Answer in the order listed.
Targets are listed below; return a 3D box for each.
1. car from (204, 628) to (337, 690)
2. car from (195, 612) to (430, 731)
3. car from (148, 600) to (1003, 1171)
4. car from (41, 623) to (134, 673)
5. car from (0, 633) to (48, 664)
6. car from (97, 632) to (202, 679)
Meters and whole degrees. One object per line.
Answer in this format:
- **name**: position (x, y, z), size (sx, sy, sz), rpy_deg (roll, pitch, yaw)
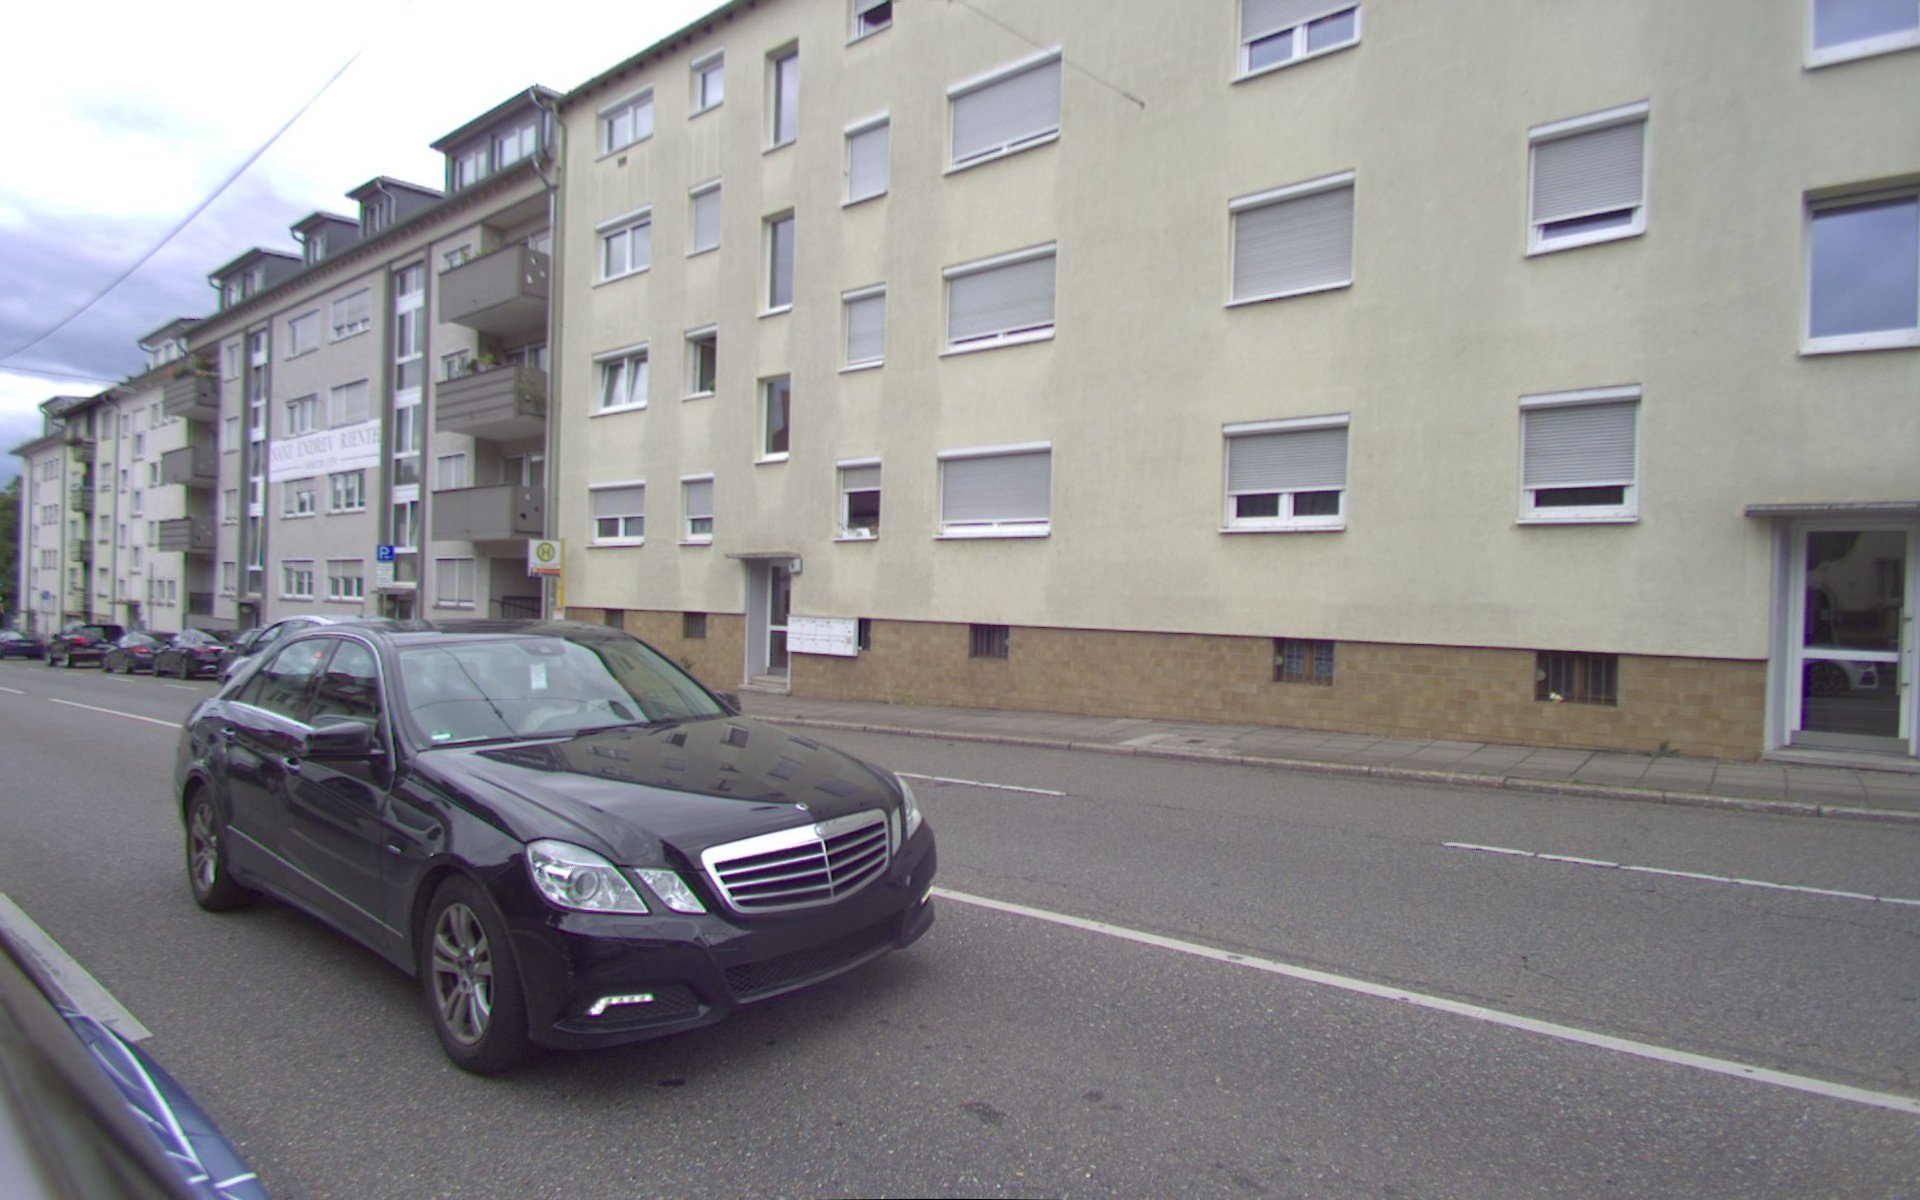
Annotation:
- **car**: position (-17.814, 1.500, 26.097), size (3.797, 1.447, 1.751), rpy_deg (-1, -4, 39)
- **car**: position (-10.127, 1.015, 15.758), size (3.991, 1.630, 1.694), rpy_deg (-1, -2, 35)
- **car**: position (-2.090, 0.761, 4.692), size (4.441, 1.465, 1.730), rpy_deg (-1, -1, 39)
- **car**: position (-33.499, 1.823, 38.817), size (4.302, 1.767, 1.852), rpy_deg (-1, -4, 39)
- **car**: position (-46.421, 2.367, 49.707), size (4.305, 1.391, 1.851), rpy_deg (-1, -4, 41)
- **car**: position (-26.471, 1.758, 33.009), size (4.302, 1.416, 1.751), rpy_deg (-1, -3, 39)
